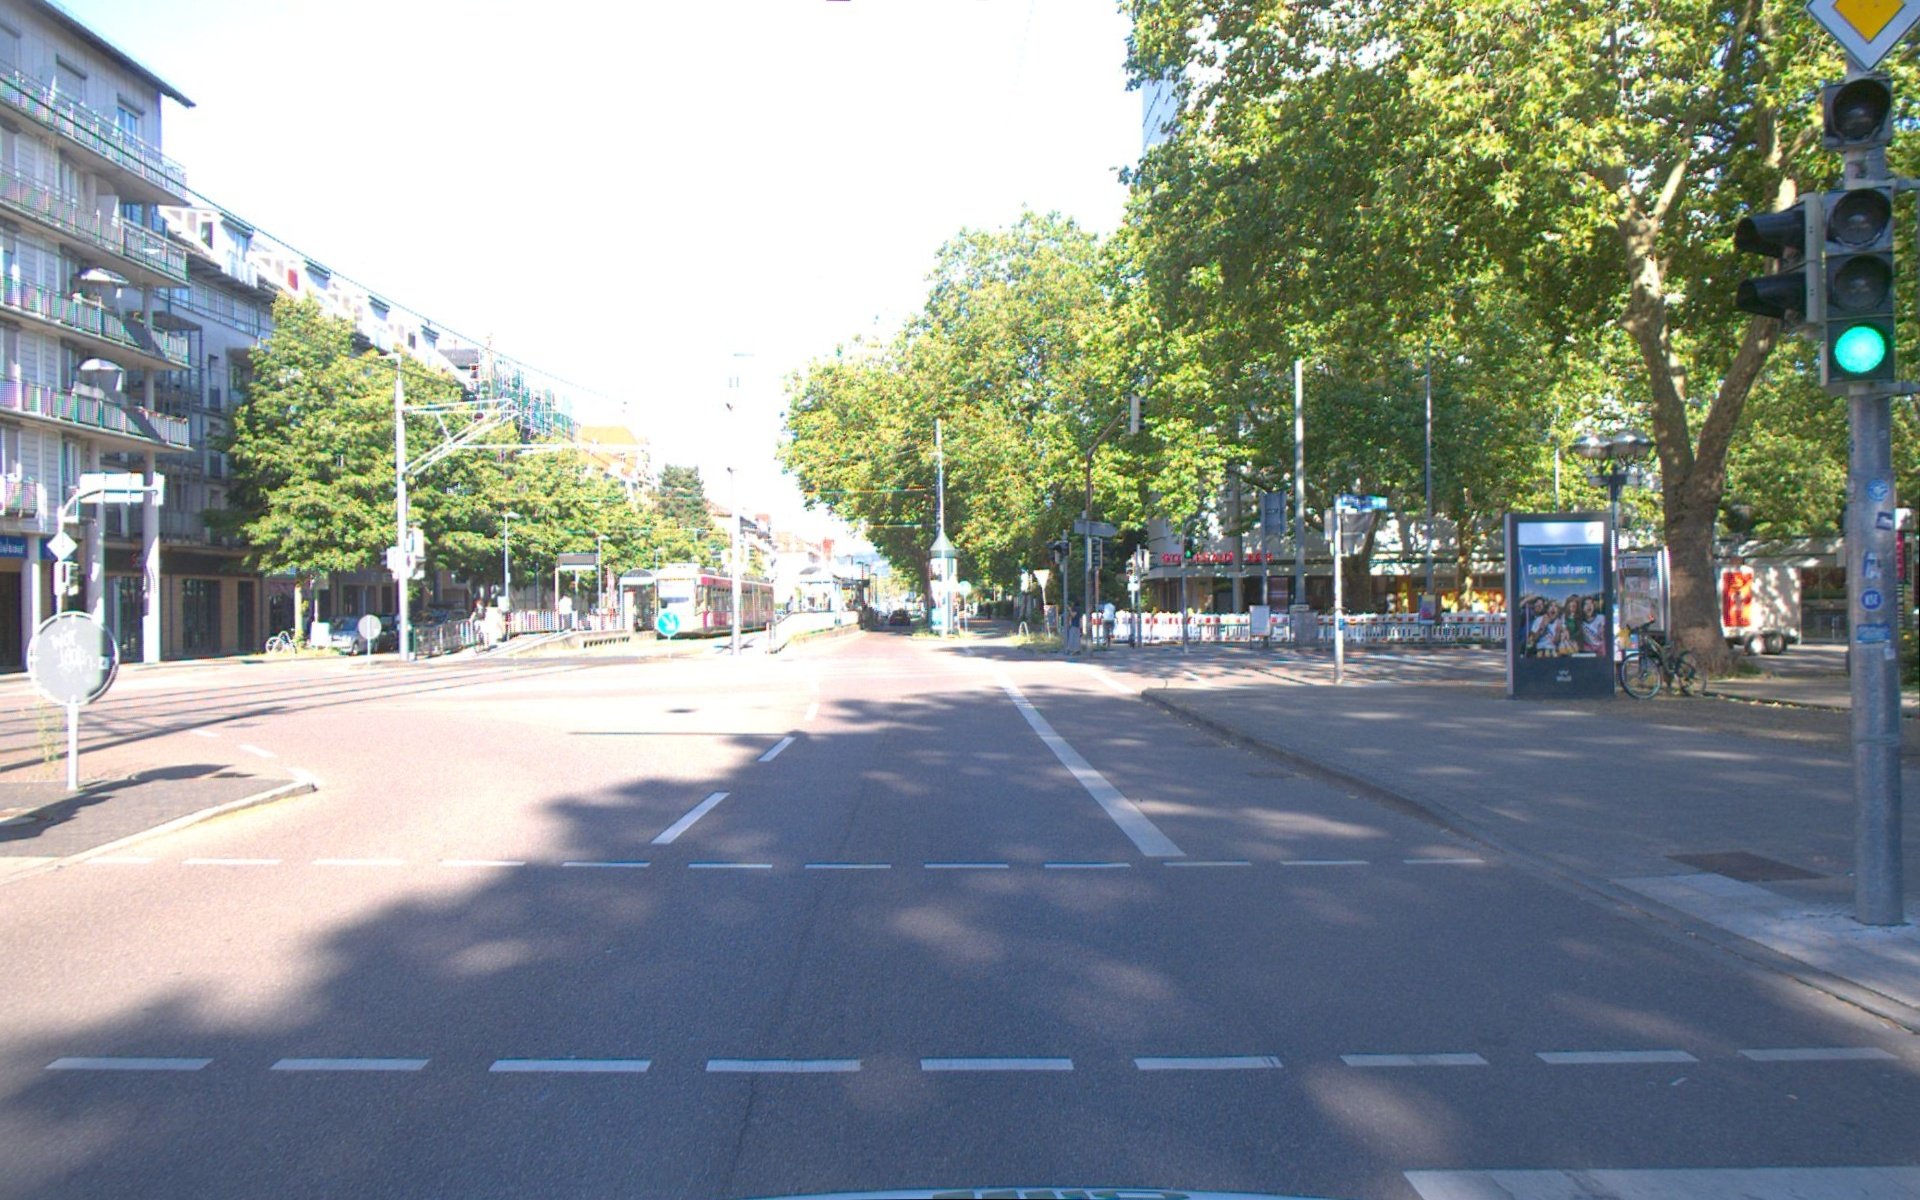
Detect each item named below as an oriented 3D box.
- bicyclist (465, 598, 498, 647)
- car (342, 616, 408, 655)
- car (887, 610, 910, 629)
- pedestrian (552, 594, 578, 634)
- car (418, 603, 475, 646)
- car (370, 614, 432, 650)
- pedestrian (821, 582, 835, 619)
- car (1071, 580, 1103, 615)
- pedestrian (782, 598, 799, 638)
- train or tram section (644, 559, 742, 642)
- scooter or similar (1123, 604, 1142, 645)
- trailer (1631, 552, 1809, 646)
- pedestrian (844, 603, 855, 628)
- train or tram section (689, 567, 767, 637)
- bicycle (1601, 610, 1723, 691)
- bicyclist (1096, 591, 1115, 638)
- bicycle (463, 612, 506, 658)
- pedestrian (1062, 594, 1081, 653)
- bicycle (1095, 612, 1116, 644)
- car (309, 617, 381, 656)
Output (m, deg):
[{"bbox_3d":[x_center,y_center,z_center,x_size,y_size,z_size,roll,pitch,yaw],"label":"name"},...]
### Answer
[{"bbox_3d":[-15.461,0.722,53.442,0.522,1.393,1.022,0,13,10],"label":"bicyclist"},{"bbox_3d":[-26.896,1.606,76.185,1.770,1.706,3.783,1,0,-2],"label":"car"},{"bbox_3d":[-5.577,1.760,150.192,1.953,1.713,3.999,1,0,-1],"label":"car"},{"bbox_3d":[-16.192,0.587,67.819,0.882,1.608,0.957,1,-1,-4],"label":"pedestrian"},{"bbox_3d":[-27.196,1.270,87.749,1.901,2.204,3.783,1,0,-2],"label":"car"},{"bbox_3d":[-27.042,1.549,80.098,1.770,1.664,3.783,1,0,-2],"label":"car"},{"bbox_3d":[-7.001,0.021,87.877,0.656,1.936,0.824,1,-1,-2],"label":"pedestrian"},{"bbox_3d":[9.459,-0.149,123.334,1.952,2.543,6.346,1,0,1],"label":"car"},{"bbox_3d":[-6.966,0.746,67.878,0.617,1.638,0.981,1,-1,-3],"label":"pedestrian"},{"bbox_3d":[-13.242,0.074,83.309,2.811,3.740,14.556,-1,0,-1],"label":"train or tram section"},{"bbox_3d":[5.507,0.773,52.738,0.548,1.279,1.291,-2,-1,7],"label":"scooter or similar"},{"bbox_3d":[20.465,-0.047,44.551,4.441,2.415,1.900,-1,0,-24],"label":"trailer"},{"bbox_3d":[-7.223,0.998,108.122,0.664,1.589,0.851,1,-1,-2],"label":"pedestrian"},{"bbox_3d":[-13.529,0.159,97.855,2.811,3.750,14.556,-1,0,-1],"label":"train or tram section"},{"bbox_3d":[9.560,0.671,22.507,1.798,1.072,0.530,0,0,-28],"label":"bicycle"},{"bbox_3d":[4.922,0.492,56.057,0.590,1.578,0.860,-1,-1,2],"label":"bicyclist"},{"bbox_3d":[-15.422,1.133,53.683,0.522,1.069,1.831,0,13,10],"label":"bicycle"},{"bbox_3d":[3.194,0.655,47.236,0.419,1.668,0.612,0,0,-9],"label":"pedestrian"},{"bbox_3d":[4.933,0.945,56.085,0.590,1.044,1.767,-1,0,2],"label":"bicycle"},{"bbox_3d":[-26.746,1.547,72.010,1.770,1.606,3.783,1,0,-2],"label":"car"}]
